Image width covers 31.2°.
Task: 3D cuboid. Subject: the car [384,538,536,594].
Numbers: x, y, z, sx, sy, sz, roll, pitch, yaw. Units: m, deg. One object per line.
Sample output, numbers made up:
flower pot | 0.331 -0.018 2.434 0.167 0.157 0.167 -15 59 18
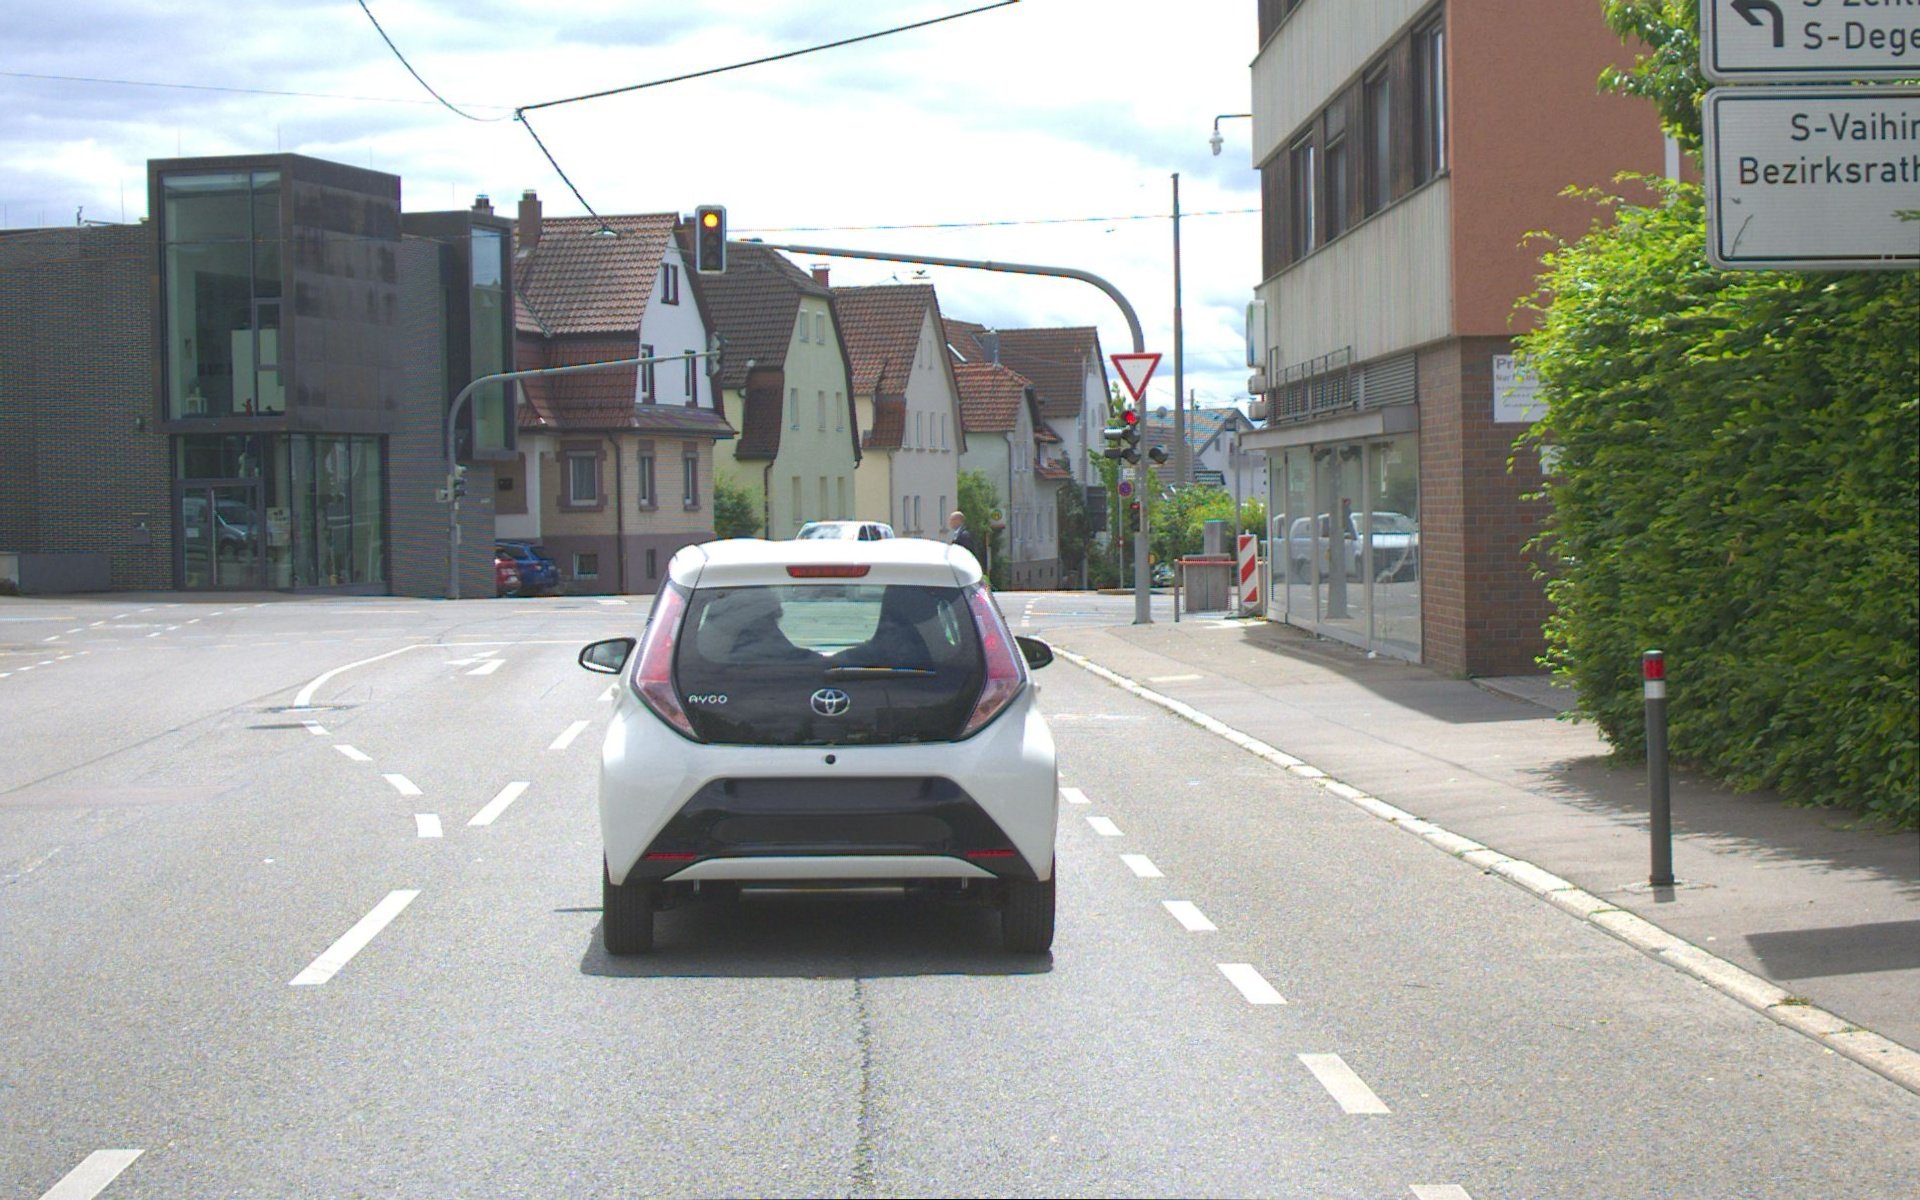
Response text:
car | -13.274 -0.914 91.343 3.616 1.414 1.691 1 1 10

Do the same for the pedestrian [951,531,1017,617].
pedestrian | 0.344 -0.382 49.752 0.733 1.217 0.646 -1 1 -28

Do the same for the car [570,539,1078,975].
car | -0.561 0.505 13.257 1.697 1.451 3.299 1 1 -4

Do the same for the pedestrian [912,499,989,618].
pedestrian | -0.143 -0.612 50.319 0.822 1.715 0.817 -1 1 -30

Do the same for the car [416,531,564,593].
car | -12.784 -1.042 93.598 3.616 1.600 1.691 1 1 10

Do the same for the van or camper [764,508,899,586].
van or camper | -3.266 -1.373 88.448 2.117 1.919 5.282 1 1 13
